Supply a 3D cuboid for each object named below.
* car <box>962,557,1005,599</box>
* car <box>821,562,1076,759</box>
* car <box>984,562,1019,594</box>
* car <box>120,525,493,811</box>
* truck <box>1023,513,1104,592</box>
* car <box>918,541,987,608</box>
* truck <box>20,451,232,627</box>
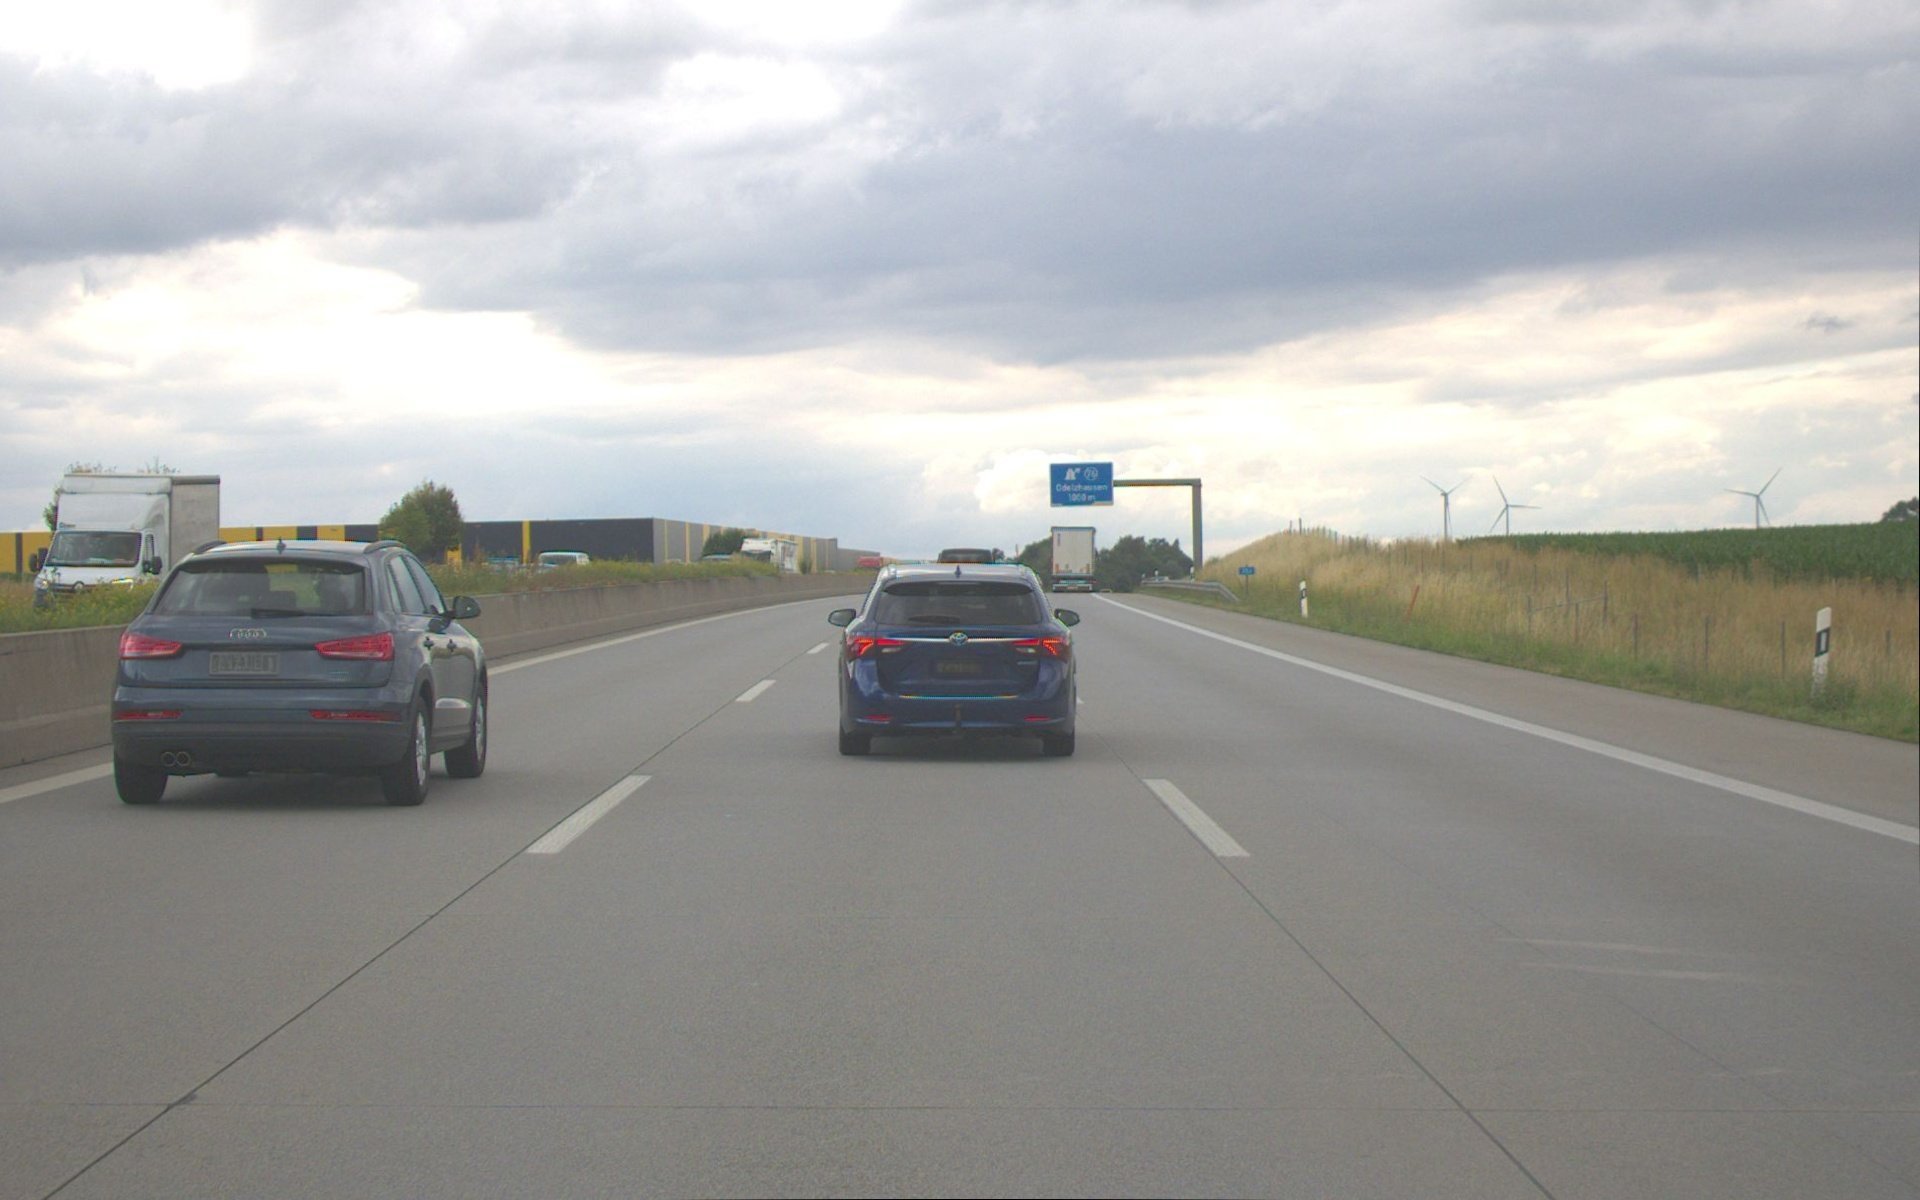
[{"bbox_3d":[1.166,-1.132,174.743,1.993,2.007,4.000,1,1,-2],"label":"car"},{"bbox_3d":[-0.163,0.417,26.682,1.774,1.408,4.001,0,1,-3],"label":"car"},{"bbox_3d":[2.663,-1.408,222.385,1.993,2.007,4.000,1,0,-3],"label":"car"},{"bbox_3d":[-4.034,0.344,21.960,1.792,1.590,5.158,1,1,-5],"label":"car"},{"bbox_3d":[6.371,-2.877,213.389,3.950,4.740,12.077,1,0,-3],"label":"truck"},{"bbox_3d":[-0.245,-0.787,106.786,1.993,2.007,4.000,1,0,-2],"label":"car"},{"bbox_3d":[-16.664,-1.164,69.154,2.357,3.316,7.296,1,0,1],"label":"truck"}]
